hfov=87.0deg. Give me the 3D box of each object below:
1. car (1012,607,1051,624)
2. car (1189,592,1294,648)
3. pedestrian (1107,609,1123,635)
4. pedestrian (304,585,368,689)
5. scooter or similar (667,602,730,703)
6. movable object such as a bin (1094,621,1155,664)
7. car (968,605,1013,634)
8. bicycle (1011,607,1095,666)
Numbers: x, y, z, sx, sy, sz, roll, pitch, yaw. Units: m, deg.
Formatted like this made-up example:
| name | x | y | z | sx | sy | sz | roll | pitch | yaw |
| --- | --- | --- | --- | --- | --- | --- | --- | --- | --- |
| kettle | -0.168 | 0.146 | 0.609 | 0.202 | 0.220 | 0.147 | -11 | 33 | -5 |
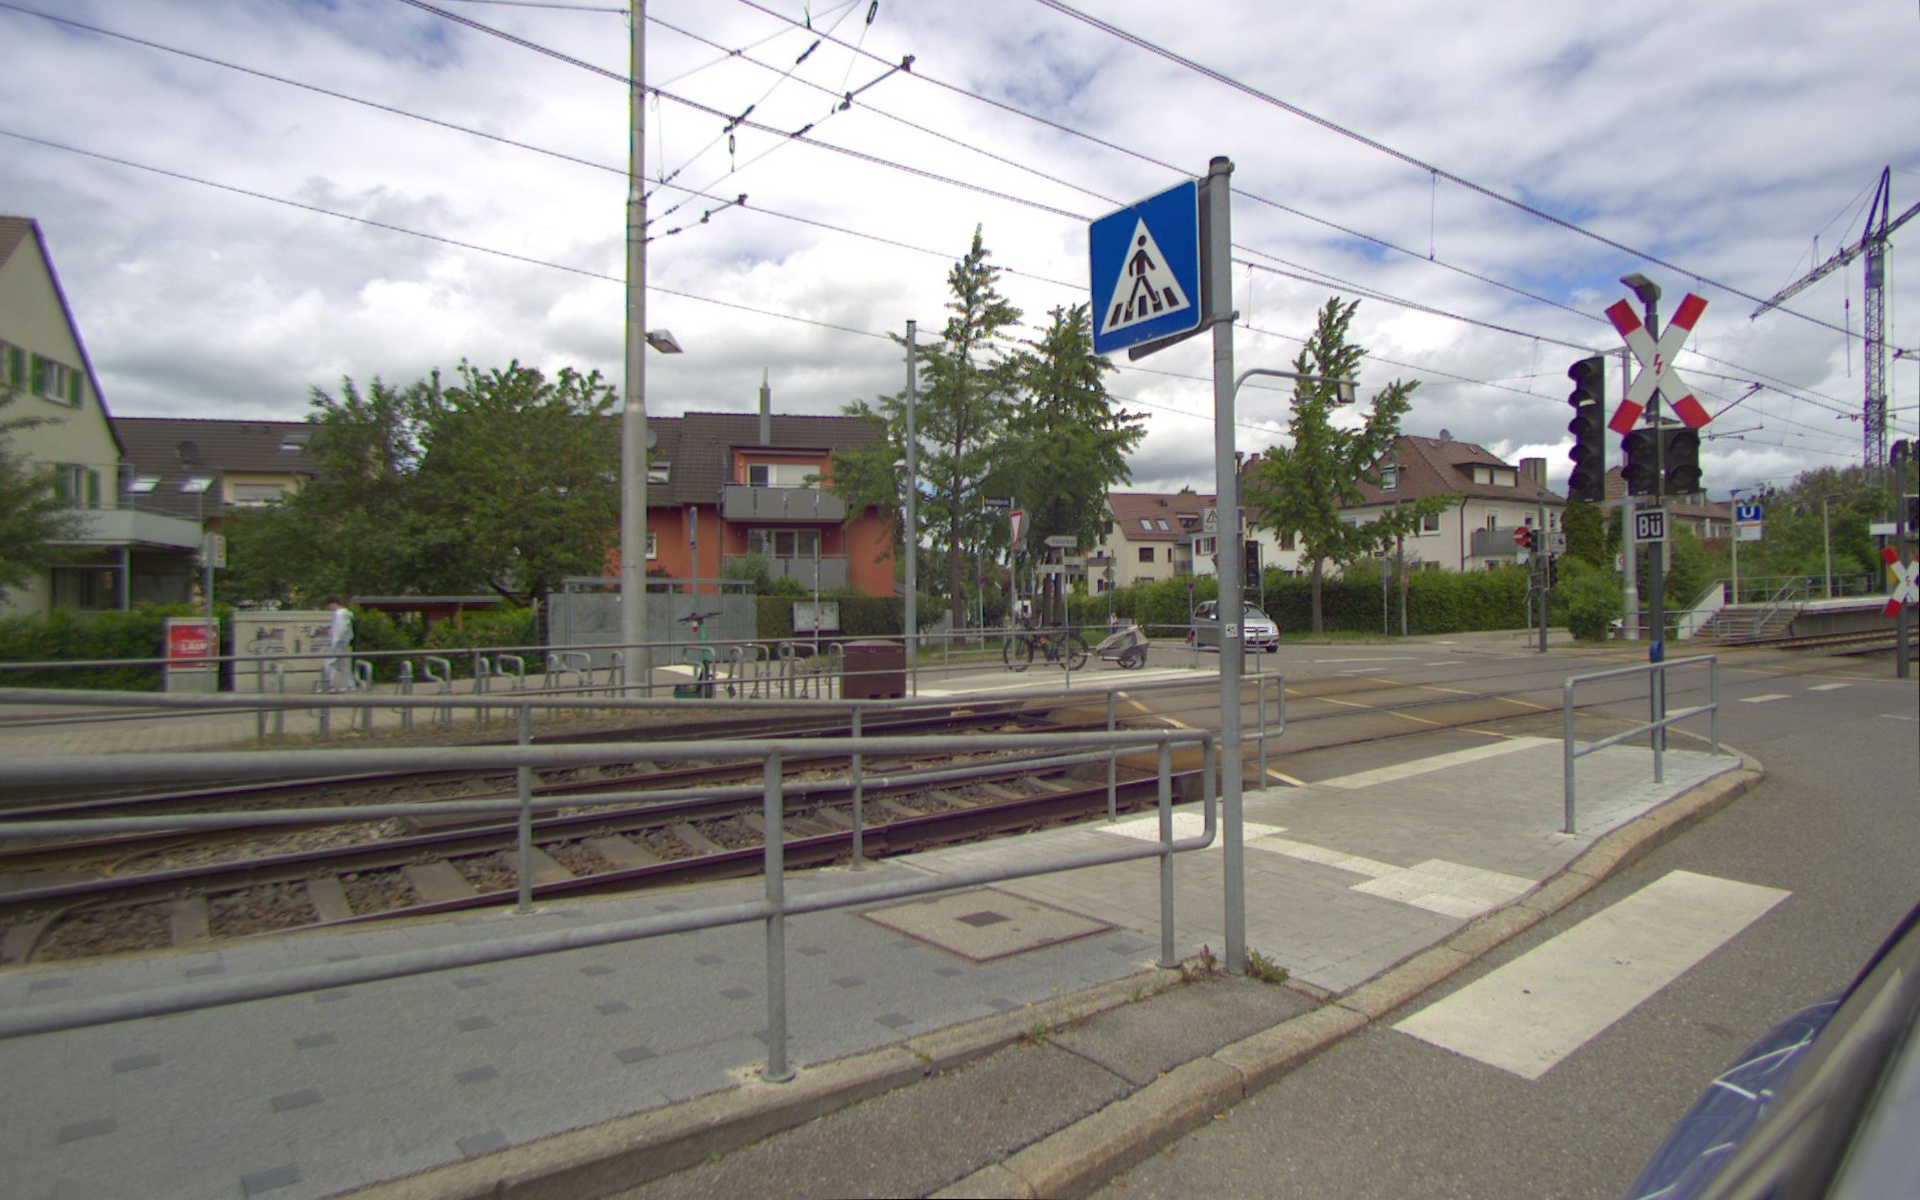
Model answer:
| name | x | y | z | sx | sy | sz | roll | pitch | yaw |
| --- | --- | --- | --- | --- | --- | --- | --- | --- | --- |
| car | 7.646 | 1.632 | 108.478 | 3.920 | 1.750 | 1.886 | -1 | -1 | -5 |
| car | 8.592 | 0.604 | 31.271 | 1.692 | 1.588 | 3.932 | -1 | -1 | -7 |
| pedestrian | 9.520 | 1.320 | 62.001 | 0.734 | 1.550 | 0.545 | -2 | -1 | -20 |
| pedestrian | -11.959 | 0.686 | 19.398 | 0.620 | 1.939 | 0.823 | 0 | -1 | 28 |
| scooter or similar | -3.606 | 0.690 | 13.911 | 0.480 | 1.333 | 1.051 | 1 | -1 | -36 |
| movable object such as a bin | 3.371 | 0.872 | 20.761 | 1.072 | 0.835 | 0.580 | -1 | -1 | -12 |
| car | 1.808 | 1.155 | 61.912 | 1.815 | 1.657 | 4.472 | -2 | -1 | -10 |
| bicycle | 1.906 | 0.734 | 20.802 | 1.657 | 1.170 | 0.467 | 0 | -1 | -16 |
